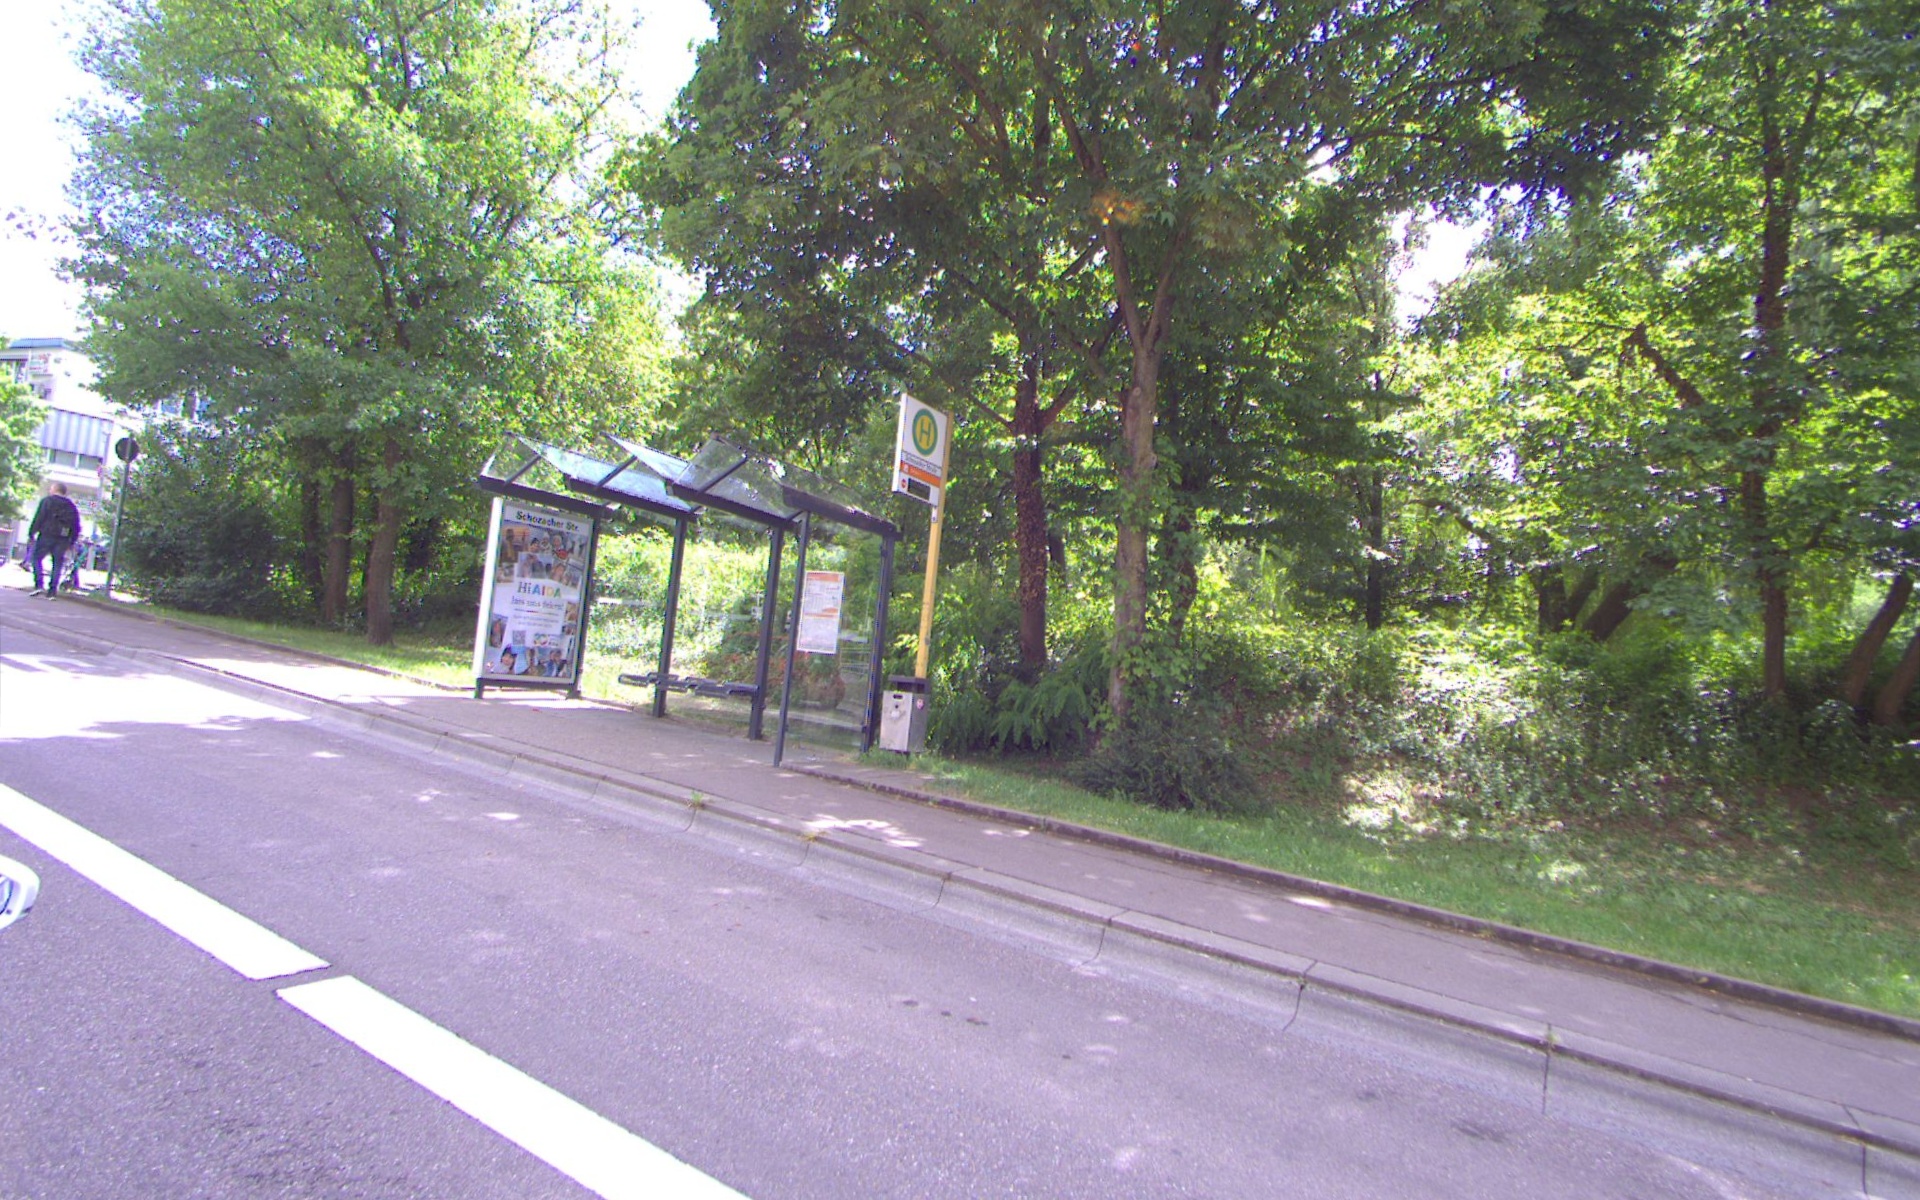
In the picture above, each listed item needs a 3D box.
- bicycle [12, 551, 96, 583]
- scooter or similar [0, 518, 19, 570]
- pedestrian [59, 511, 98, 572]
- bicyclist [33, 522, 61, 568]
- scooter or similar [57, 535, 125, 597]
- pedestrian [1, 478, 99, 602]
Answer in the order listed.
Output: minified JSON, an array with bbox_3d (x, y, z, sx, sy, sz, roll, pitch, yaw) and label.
[{"bbox_3d":[-24.398,-0.894,27.120,1.578,0.617,0.529,9,-2,-38],"label":"bicycle"},{"bbox_3d":[-25.018,-1.507,25.748,0.546,1.286,1.153,6,-3,34],"label":"scooter or similar"},{"bbox_3d":[-26.328,-1.735,30.052,0.653,1.733,0.458,8,-1,-34],"label":"pedestrian"},{"bbox_3d":[-24.483,-1.476,26.987,0.396,1.170,0.498,8,-1,-37],"label":"bicyclist"},{"bbox_3d":[-20.208,-0.787,23.406,0.447,1.242,0.893,6,-6,32],"label":"scooter or similar"},{"bbox_3d":[-15.159,-0.996,16.760,0.997,1.898,0.796,6,-1,32],"label":"pedestrian"}]
